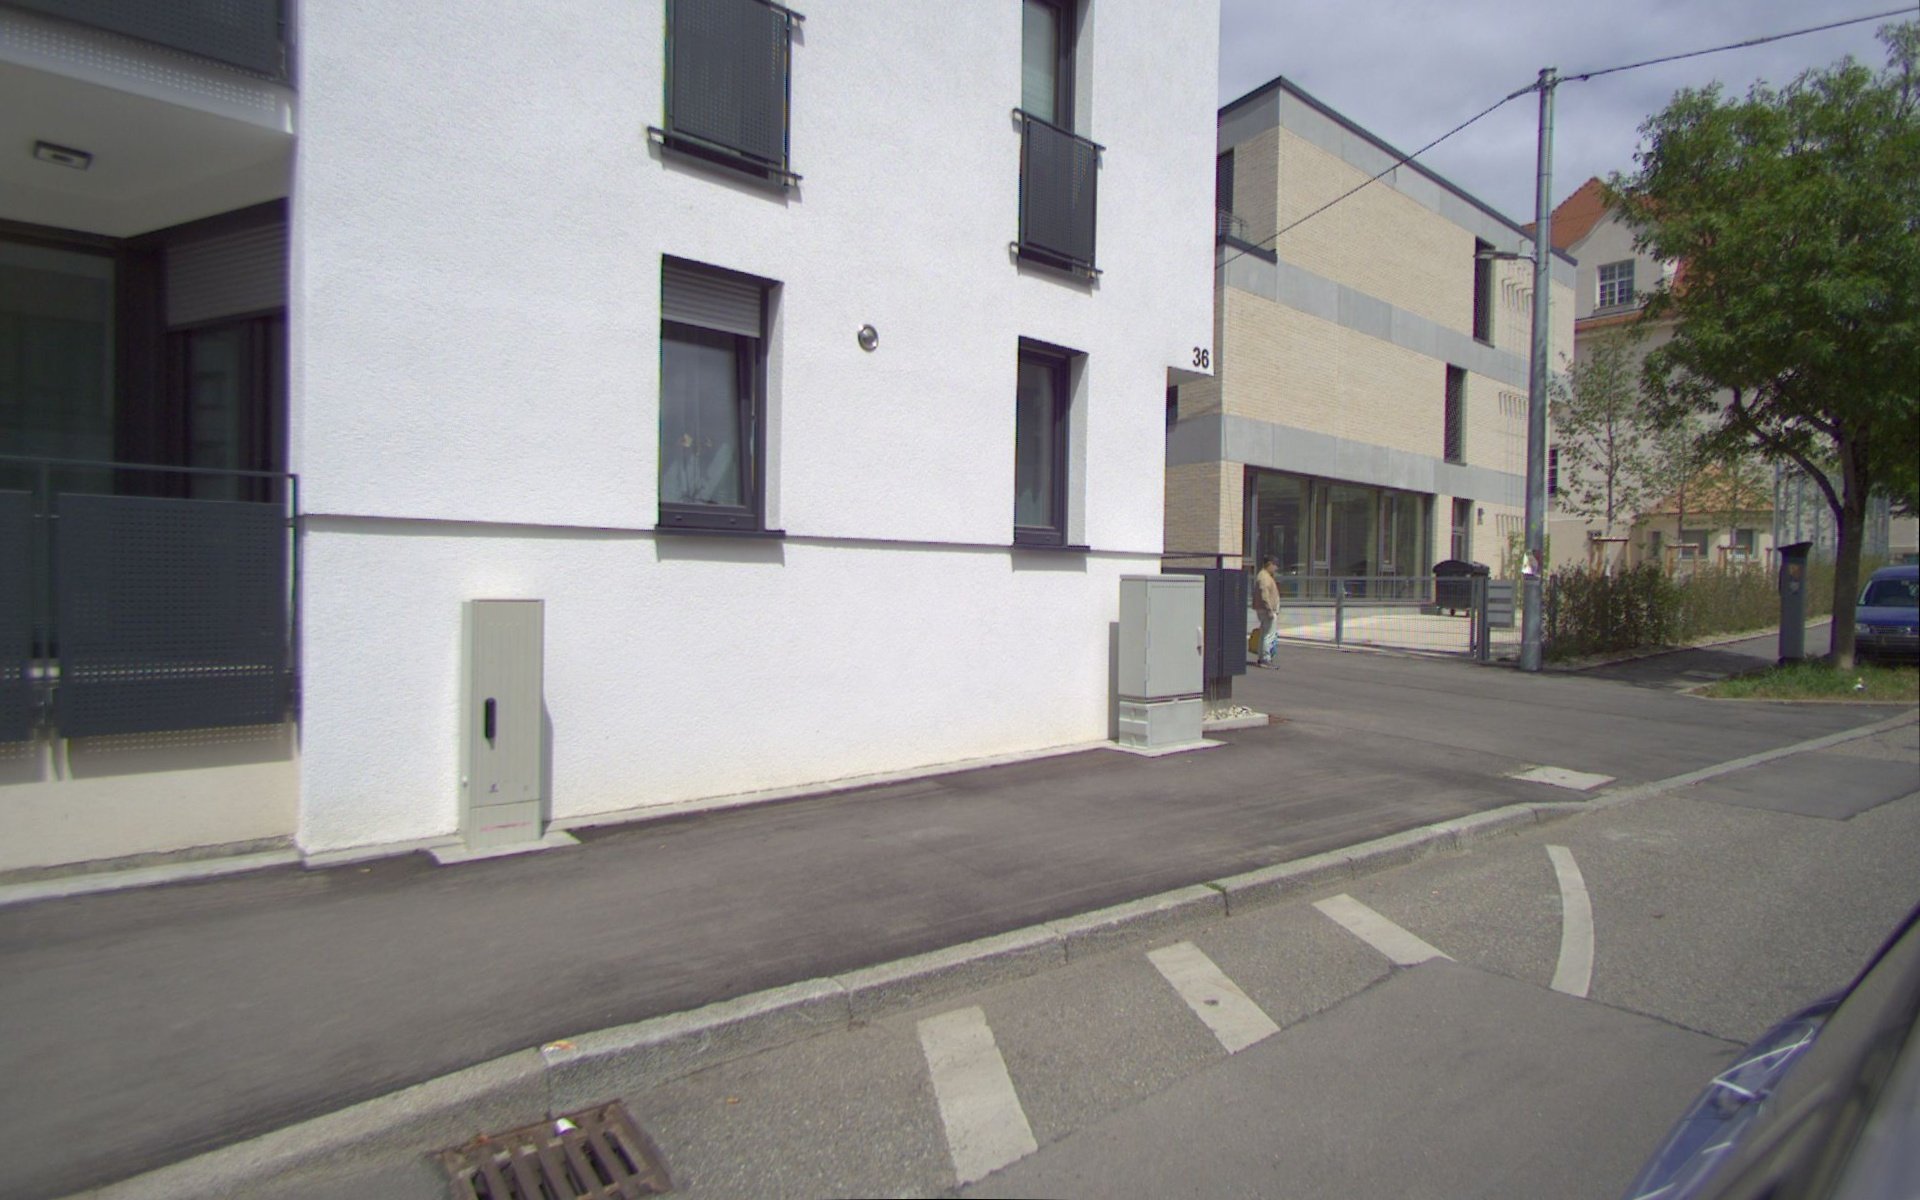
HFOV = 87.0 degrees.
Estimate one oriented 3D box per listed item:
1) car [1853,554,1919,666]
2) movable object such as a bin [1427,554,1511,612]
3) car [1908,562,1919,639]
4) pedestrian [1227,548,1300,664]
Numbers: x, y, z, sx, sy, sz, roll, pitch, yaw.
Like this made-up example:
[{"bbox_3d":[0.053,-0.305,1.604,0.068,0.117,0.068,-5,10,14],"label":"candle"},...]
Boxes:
[{"bbox_3d":[16.870,0.107,17.390,4.087,1.764,1.698,-2,3,-40],"label":"car"},{"bbox_3d":[13.213,-0.452,26.282,1.775,1.465,1.351,-1,1,-39],"label":"movable object such as a bin"},{"bbox_3d":[21.126,0.031,21.009,3.605,1.538,1.677,0,2,-40],"label":"car"},{"bbox_3d":[4.661,0.076,15.545,0.815,1.724,0.774,-1,1,-41],"label":"pedestrian"}]
